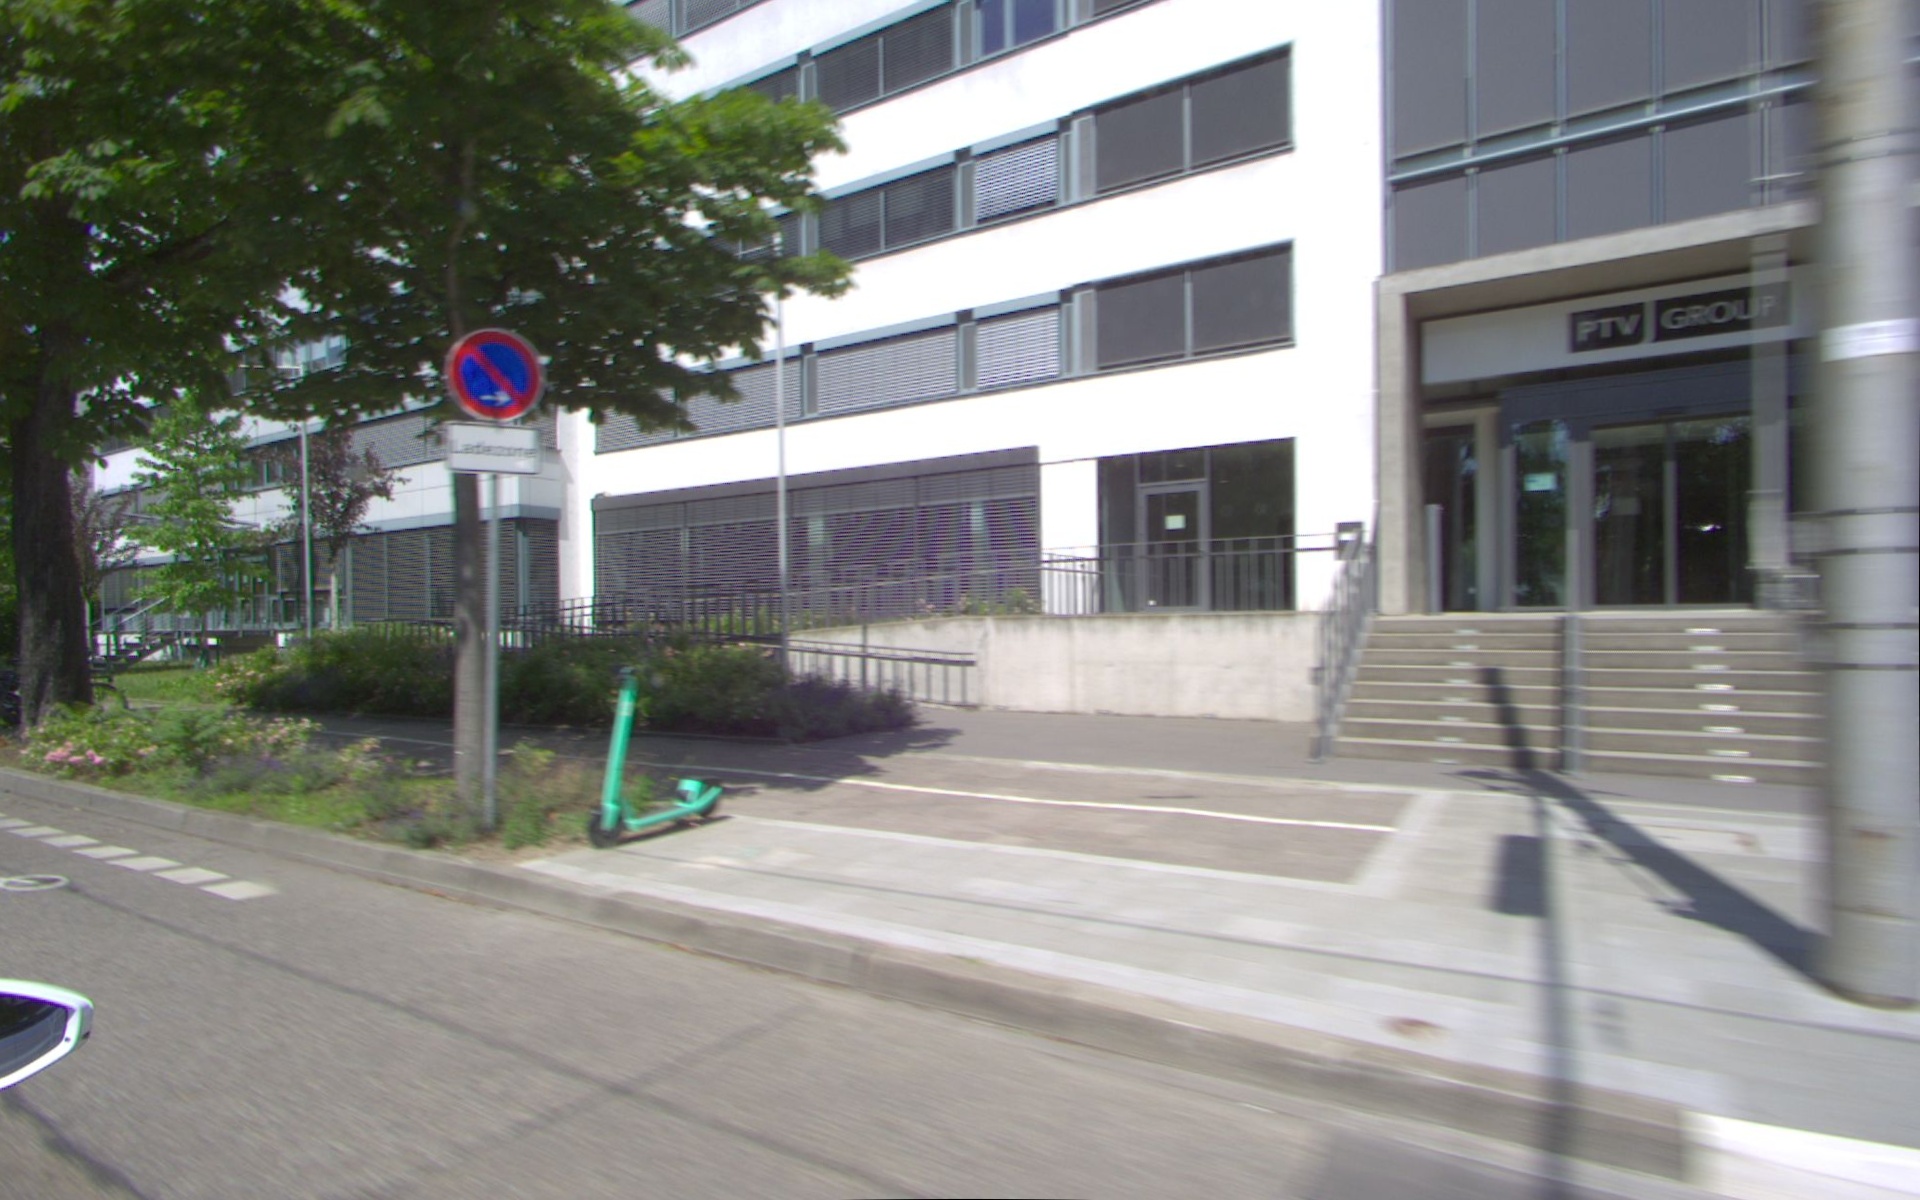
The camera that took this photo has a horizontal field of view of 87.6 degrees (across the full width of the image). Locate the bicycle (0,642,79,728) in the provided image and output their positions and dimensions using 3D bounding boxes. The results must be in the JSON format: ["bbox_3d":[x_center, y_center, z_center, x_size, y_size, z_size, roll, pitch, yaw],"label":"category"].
[{"bbox_3d":[-13.540,1.187,14.014,0.522,1.181,1.750,-1,-1,29],"label":"bicycle"}]

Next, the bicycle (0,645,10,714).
[{"bbox_3d":[-18.116,1.432,17.231,0.614,1.225,2.502,-1,-1,36],"label":"bicycle"}]

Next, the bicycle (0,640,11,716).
[{"bbox_3d":[-15.575,1.213,15.118,0.522,1.181,1.750,-1,-1,29],"label":"bicycle"}]

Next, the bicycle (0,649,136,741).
[{"bbox_3d":[-12.088,1.236,13.234,0.524,1.116,1.786,-1,-1,30],"label":"bicycle"}]

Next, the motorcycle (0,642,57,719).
[{"bbox_3d":[-14.797,1.223,14.990,0.590,1.125,1.820,-1,-1,32],"label":"motorcycle"}]

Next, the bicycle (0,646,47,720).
[{"bbox_3d":[-16.901,1.413,16.621,0.639,1.225,2.502,-1,-1,36],"label":"bicycle"}]

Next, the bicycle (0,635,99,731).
[{"bbox_3d":[-13.069,1.136,13.810,0.522,1.287,1.750,-1,-1,29],"label":"bicycle"}]

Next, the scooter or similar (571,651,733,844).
[{"bbox_3d":[-2.088,0.962,6.882,0.365,1.171,1.056,-1,1,32],"label":"scooter or similar"}]
